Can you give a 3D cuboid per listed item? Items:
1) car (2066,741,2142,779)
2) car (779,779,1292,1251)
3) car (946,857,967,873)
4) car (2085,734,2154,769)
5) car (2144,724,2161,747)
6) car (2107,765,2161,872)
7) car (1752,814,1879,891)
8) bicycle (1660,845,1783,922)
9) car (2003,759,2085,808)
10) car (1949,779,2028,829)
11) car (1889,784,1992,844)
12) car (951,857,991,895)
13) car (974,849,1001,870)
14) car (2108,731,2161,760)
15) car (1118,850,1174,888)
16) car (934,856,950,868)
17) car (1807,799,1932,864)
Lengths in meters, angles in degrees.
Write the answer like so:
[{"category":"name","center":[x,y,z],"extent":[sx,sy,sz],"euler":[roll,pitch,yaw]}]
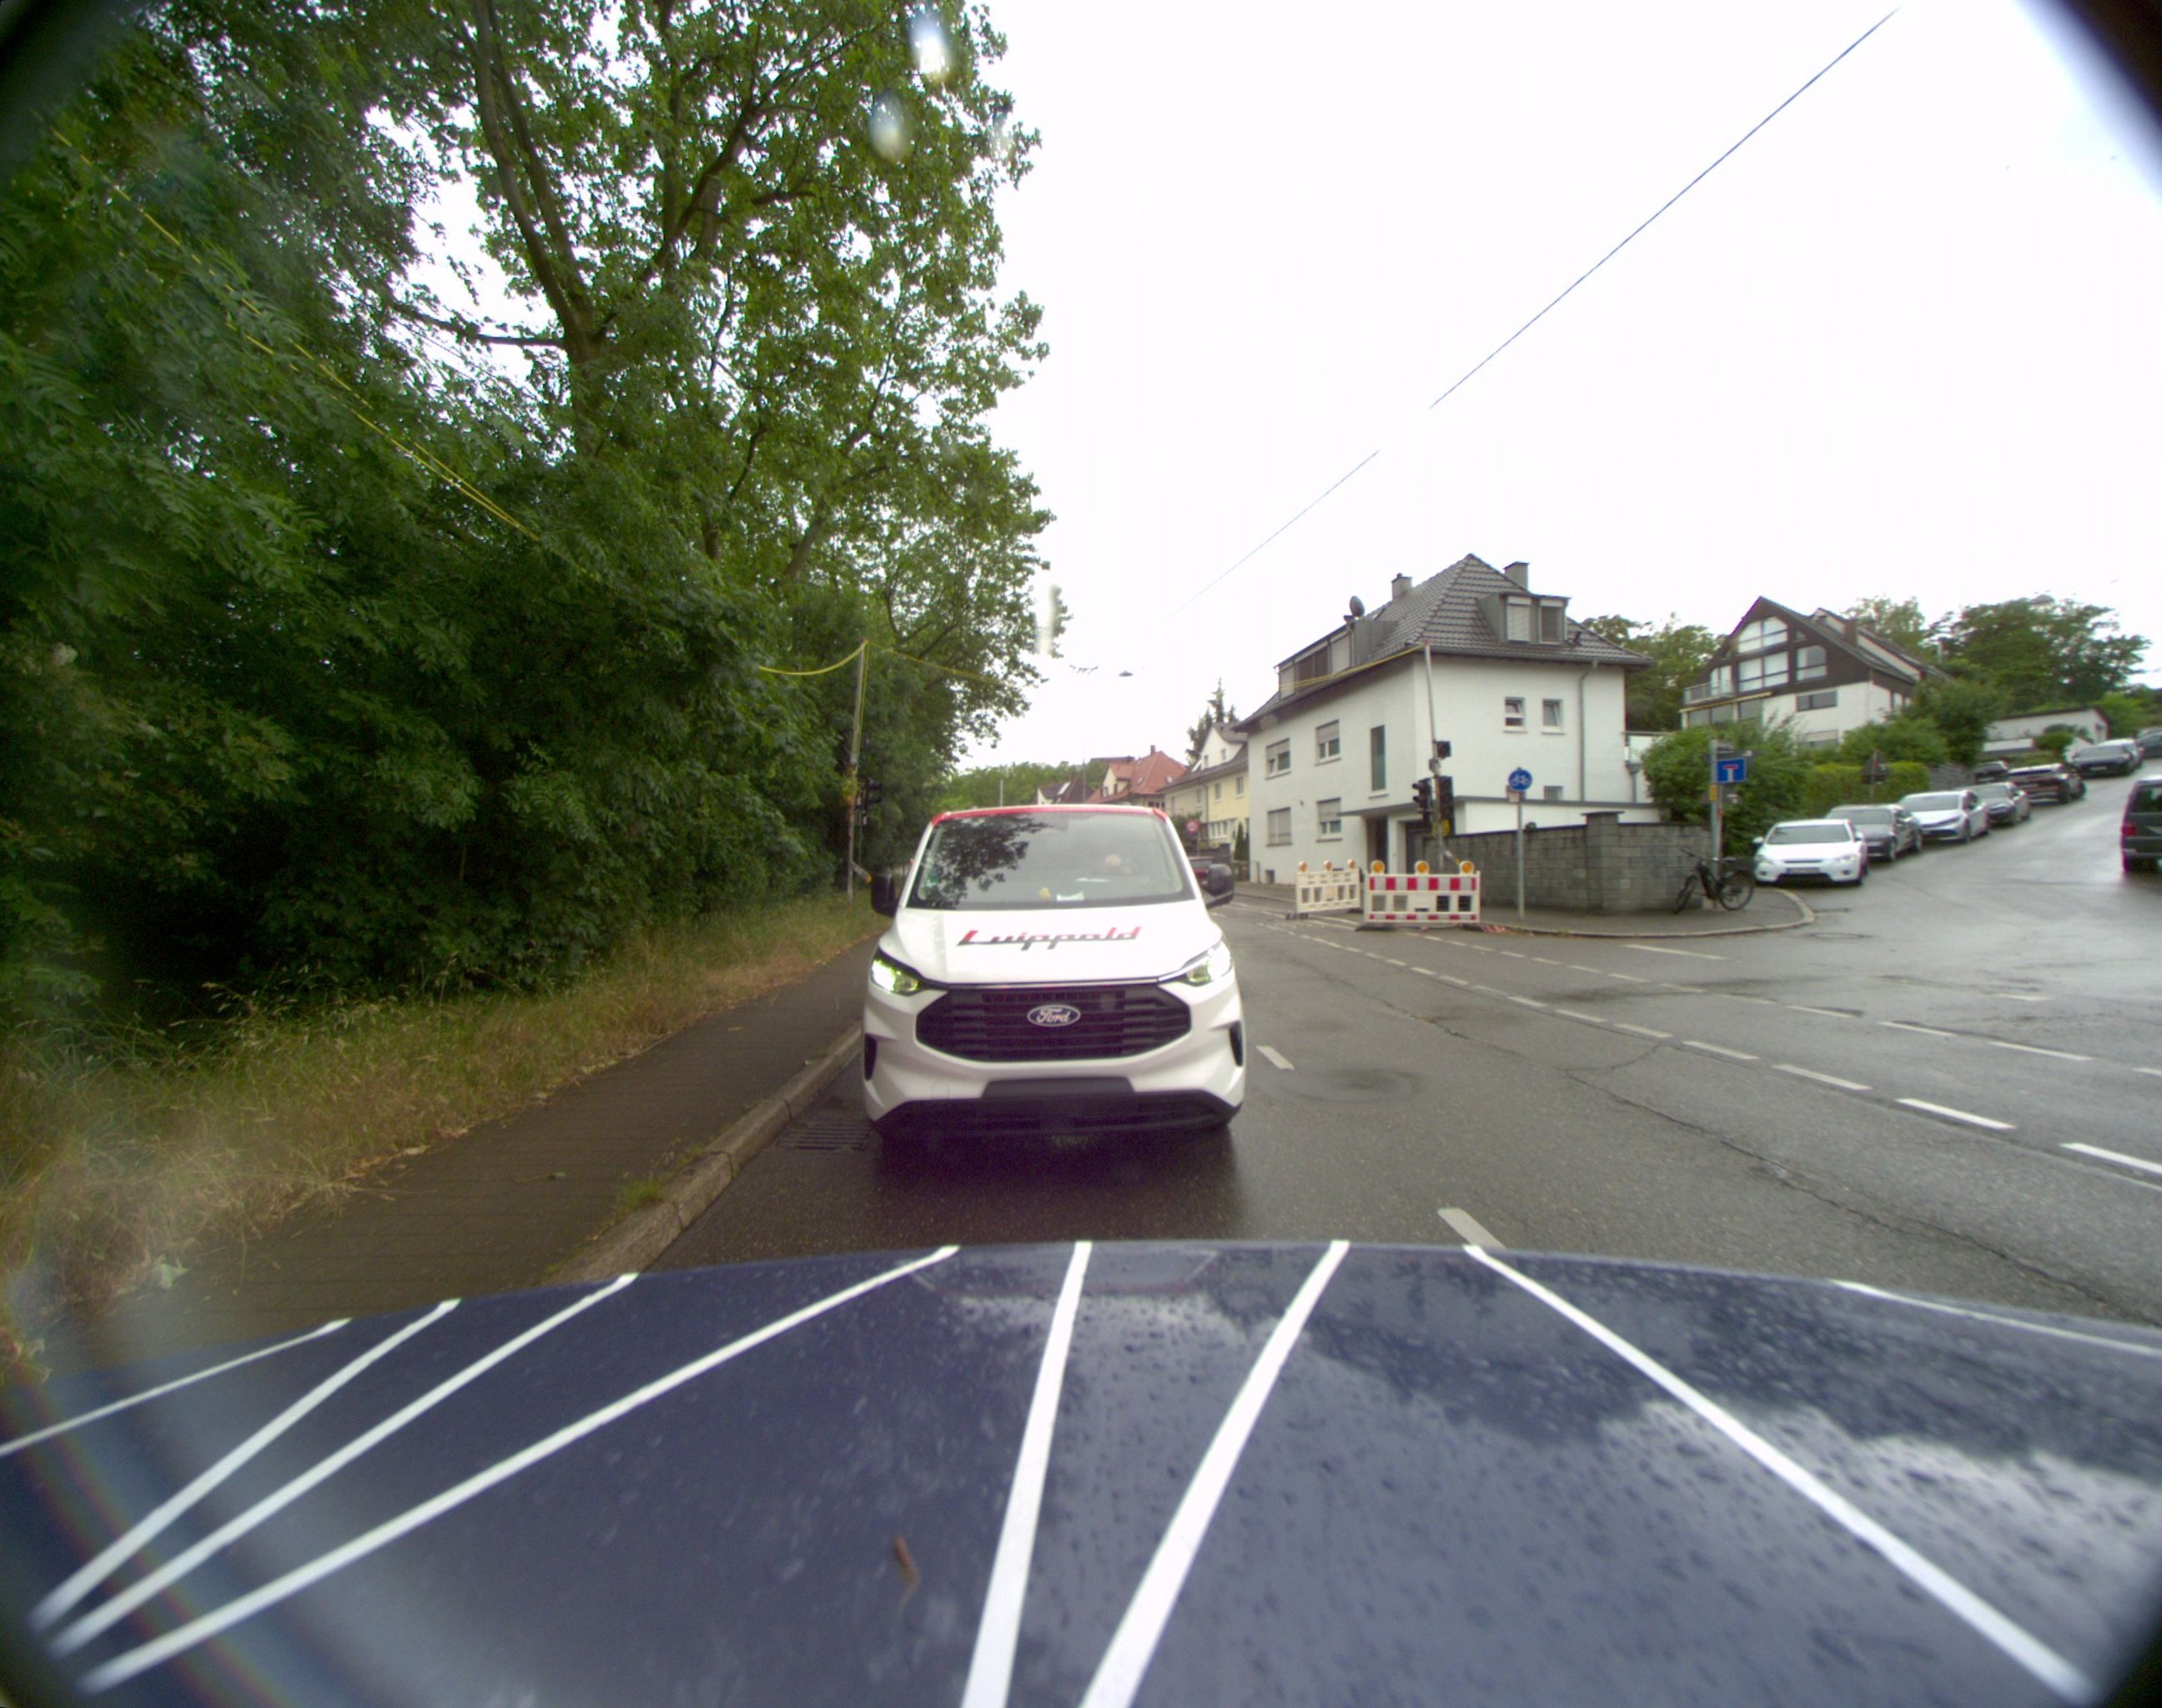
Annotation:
[{"category":"car","center":[54.639,-5.042,40.584],"extent":[3.834,1.492,1.733],"euler":[-9,3,-26]},{"category":"car","center":[-0.150,0.644,5.743],"extent":[2.045,1.883,5.208],"euler":[-2,1,1]},{"category":"car","center":[-15.402,1.285,94.037],"extent":[2.001,1.850,4.354],"euler":[-2,1,-17]},{"category":"car","center":[60.512,-5.983,44.262],"extent":[3.834,1.492,1.733],"euler":[-9,3,-26]},{"category":"car","center":[81.256,-8.938,55.756],"extent":[1.624,1.492,3.514],"euler":[-9,3,-24]},{"category":"car","center":[23.538,-0.852,16.005],"extent":[3.801,1.926,1.911],"euler":[-9,3,-31]},{"category":"car","center":[17.651,-0.057,18.222],"extent":[3.566,1.458,1.746],"euler":[-7,2,-40]},{"category":"bicycle","center":[11.718,0.512,13.922],"extent":[1.732,1.304,0.707],"euler":[-2,1,-7]},{"category":"car","center":[40.569,-2.971,31.984],"extent":[3.988,1.547,1.333],"euler":[-9,3,-26]},{"category":"car","center":[32.147,-1.782,26.899],"extent":[3.508,1.383,1.333],"euler":[-8,4,-32]},{"category":"car","center":[27.237,-1.283,24.052],"extent":[3.859,1.458,1.579],"euler":[-8,4,-32]},{"category":"car","center":[-5.130,1.045,35.530],"extent":[1.670,1.579,4.004],"euler":[-3,-2,-8]},{"category":"car","center":[-9.419,0.507,76.084],"extent":[2.001,2.002,3.994],"euler":[-2,1,-17]},{"category":"car","center":[68.138,-6.959,48.096],"extent":[1.582,1.492,3.607],"euler":[-10,4,-34]},{"category":"car","center":[2.922,0.720,34.910],"extent":[1.670,1.579,4.004],"euler":[-3,-2,-8]},{"category":"car","center":[-18.881,1.098,103.020],"extent":[1.767,1.519,3.585],"euler":[-2,1,-17]},{"category":"car","center":[22.533,-0.643,21.693],"extent":[3.859,1.458,1.700],"euler":[-7,2,-32]}]
